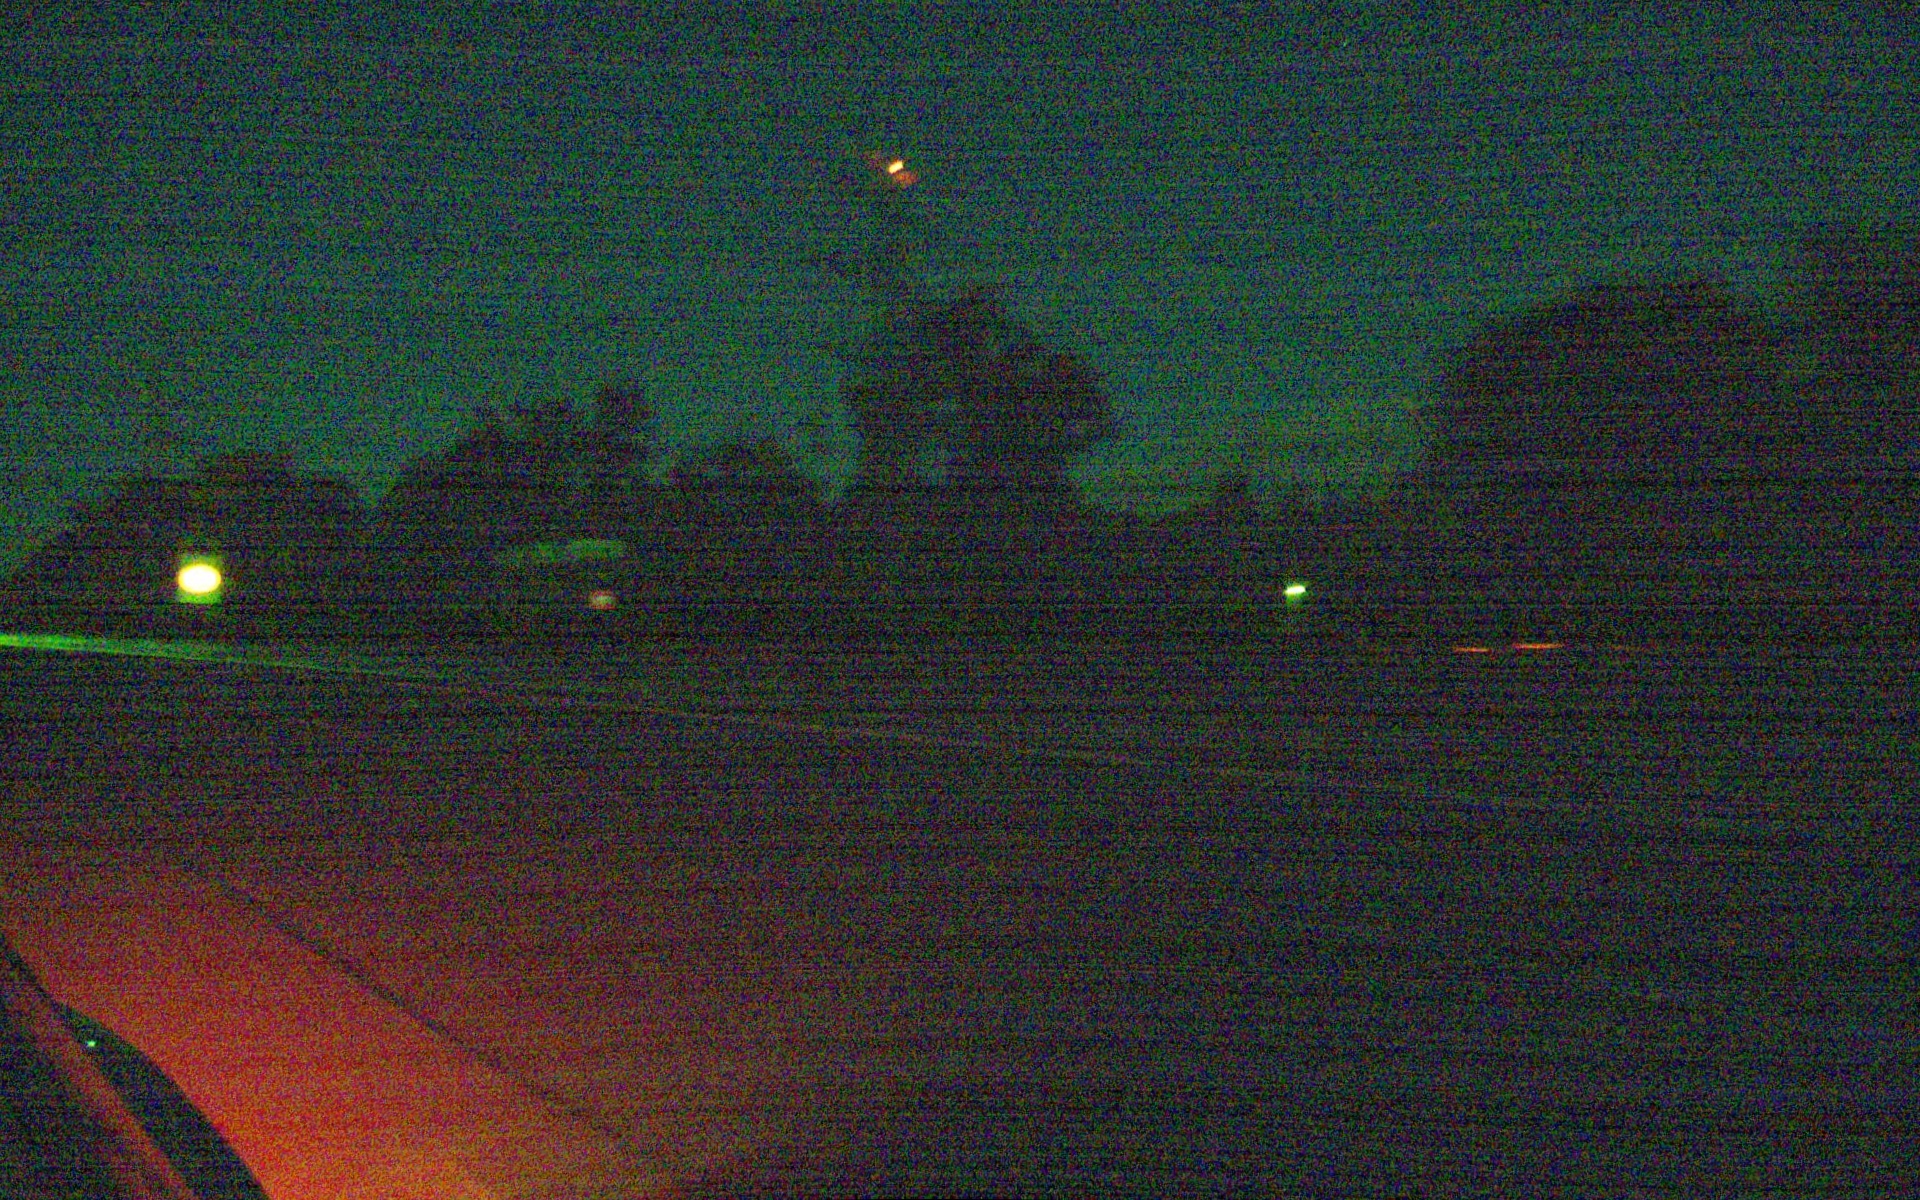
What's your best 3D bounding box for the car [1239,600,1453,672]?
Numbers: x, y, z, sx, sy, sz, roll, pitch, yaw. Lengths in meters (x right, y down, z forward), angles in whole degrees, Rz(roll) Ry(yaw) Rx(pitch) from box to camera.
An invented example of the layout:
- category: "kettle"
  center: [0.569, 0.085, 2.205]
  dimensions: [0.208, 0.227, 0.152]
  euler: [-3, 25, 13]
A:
- category: "car"
  center: [8.417, 0.755, 22.249]
  dimensions: [3.998, 1.431, 1.822]
  euler: [-1, -1, 42]
